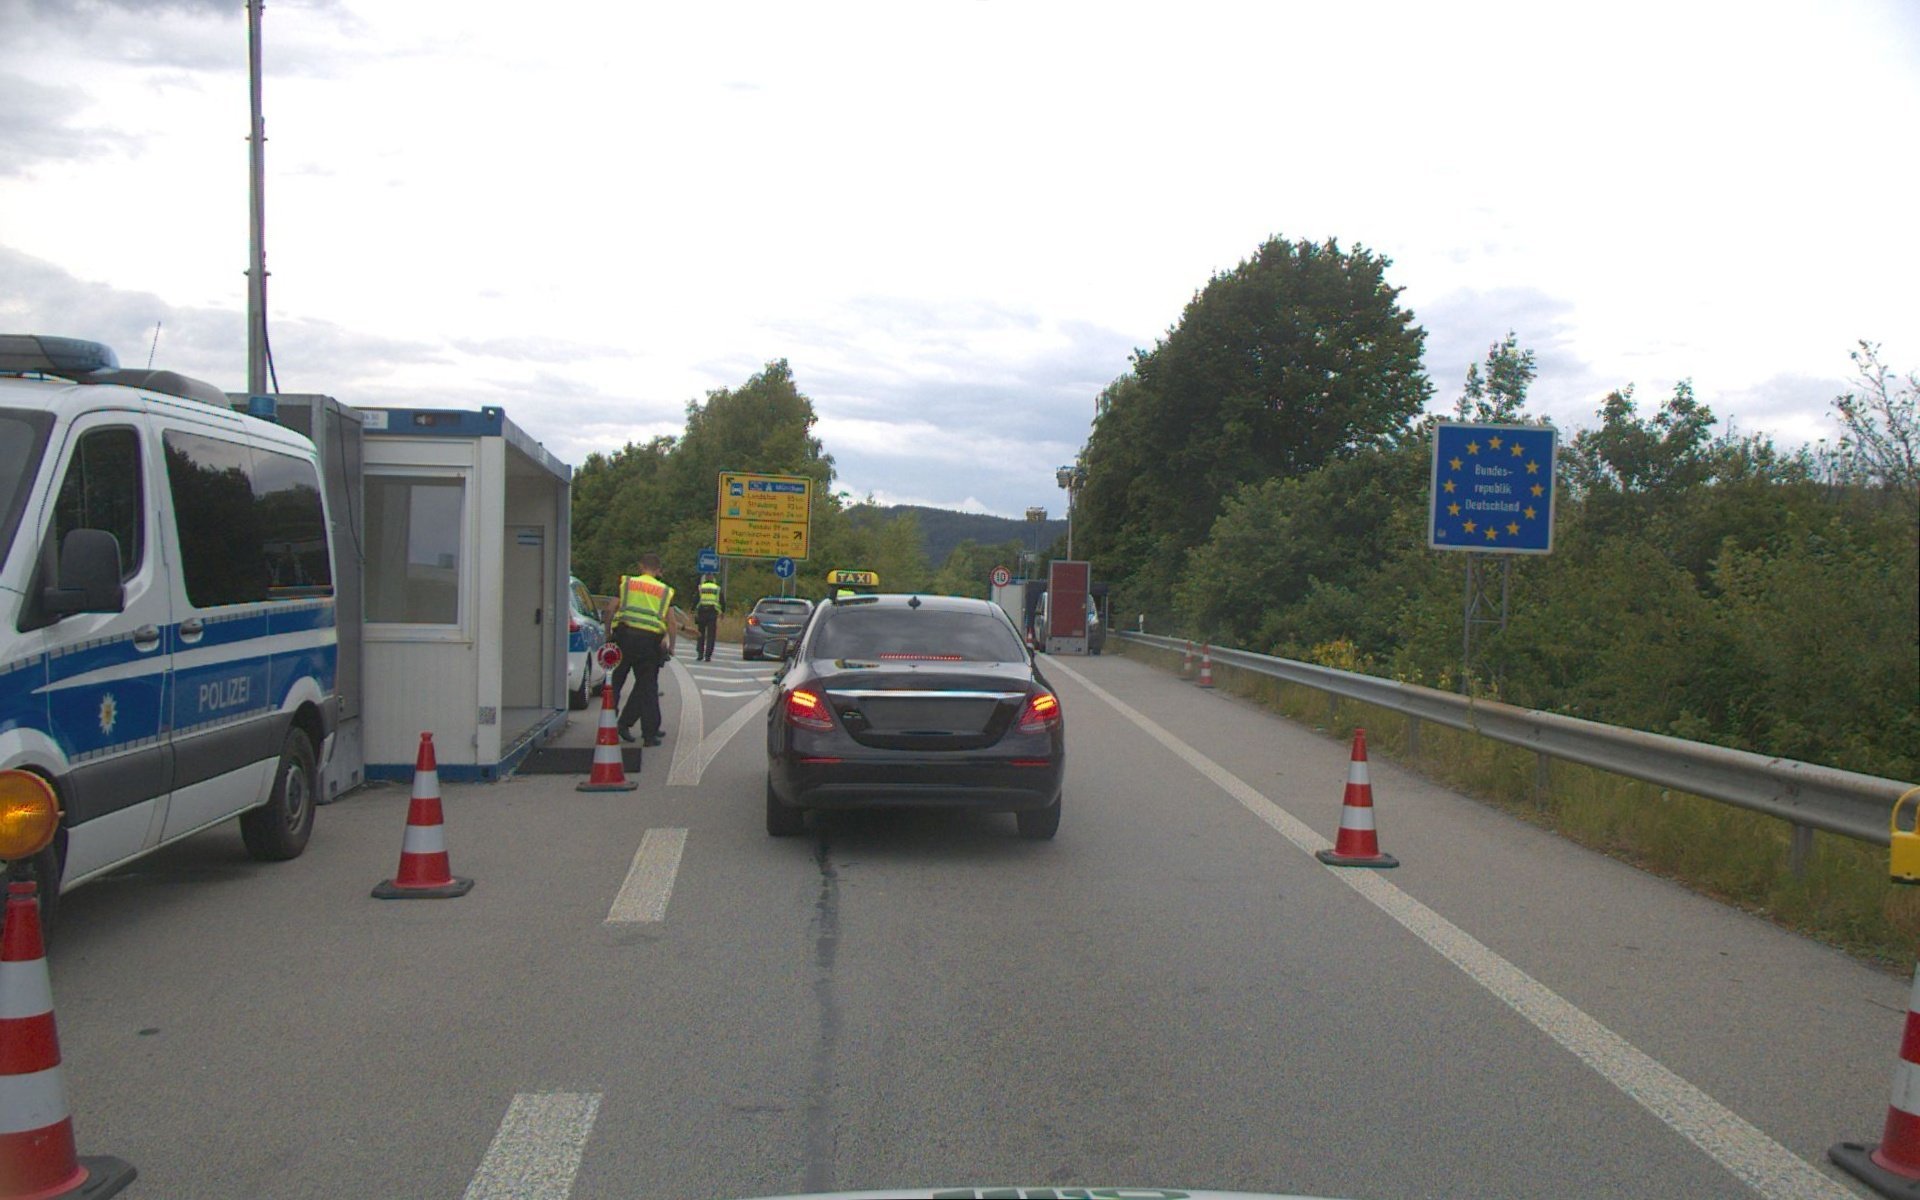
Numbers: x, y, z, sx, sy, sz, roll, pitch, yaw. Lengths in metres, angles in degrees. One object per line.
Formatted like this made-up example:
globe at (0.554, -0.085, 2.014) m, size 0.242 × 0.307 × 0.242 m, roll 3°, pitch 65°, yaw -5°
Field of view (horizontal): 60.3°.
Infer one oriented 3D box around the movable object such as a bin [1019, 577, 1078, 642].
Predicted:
movable object such as a bin at (3.247, 0.338, 61.449) m, size 1.953 × 2.320 × 4.168 m, roll 1°, pitch 0°, yaw 0°

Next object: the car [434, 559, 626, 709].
car at (-5.538, 0.402, 21.783) m, size 1.833 × 1.774 × 4.003 m, roll 1°, pitch 0°, yaw -6°

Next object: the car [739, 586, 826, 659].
car at (-3.952, 0.474, 37.300) m, size 1.819 × 1.524 × 4.252 m, roll 1°, pitch 0°, yaw -5°

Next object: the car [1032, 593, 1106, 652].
car at (3.419, 0.672, 52.609) m, size 1.877 × 1.707 × 5.082 m, roll 3°, pitch 0°, yaw -1°

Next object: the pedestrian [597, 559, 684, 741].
pedestrian at (-3.139, 0.484, 16.297) m, size 0.800 × 1.748 × 0.761 m, roll 1°, pitch 0°, yaw -9°

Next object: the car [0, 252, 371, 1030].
car at (-4.253, 0.116, 7.082) m, size 1.990 × 2.506 × 5.273 m, roll 1°, pitch 0°, yaw -5°

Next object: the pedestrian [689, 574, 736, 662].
pedestrian at (-5.138, 0.366, 34.264) m, size 0.892 × 1.800 × 0.911 m, roll 1°, pitch 0°, yaw -12°

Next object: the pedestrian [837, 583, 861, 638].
pedestrian at (-4.070, 0.379, 60.662) m, size 0.650 × 1.995 × 0.760 m, roll 0°, pitch 0°, yaw 14°

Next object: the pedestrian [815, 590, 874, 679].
pedestrian at (-2.282, 0.666, 32.672) m, size 0.896 × 1.727 × 0.907 m, roll 1°, pitch 0°, yaw -23°

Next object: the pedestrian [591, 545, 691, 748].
pedestrian at (-2.996, 0.426, 15.600) m, size 0.796 × 1.862 × 0.809 m, roll 1°, pitch 0°, yaw -3°

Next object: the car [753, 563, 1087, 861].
car at (-0.364, 0.612, 11.281) m, size 1.819 × 1.623 × 4.372 m, roll 1°, pitch 0°, yaw -4°
